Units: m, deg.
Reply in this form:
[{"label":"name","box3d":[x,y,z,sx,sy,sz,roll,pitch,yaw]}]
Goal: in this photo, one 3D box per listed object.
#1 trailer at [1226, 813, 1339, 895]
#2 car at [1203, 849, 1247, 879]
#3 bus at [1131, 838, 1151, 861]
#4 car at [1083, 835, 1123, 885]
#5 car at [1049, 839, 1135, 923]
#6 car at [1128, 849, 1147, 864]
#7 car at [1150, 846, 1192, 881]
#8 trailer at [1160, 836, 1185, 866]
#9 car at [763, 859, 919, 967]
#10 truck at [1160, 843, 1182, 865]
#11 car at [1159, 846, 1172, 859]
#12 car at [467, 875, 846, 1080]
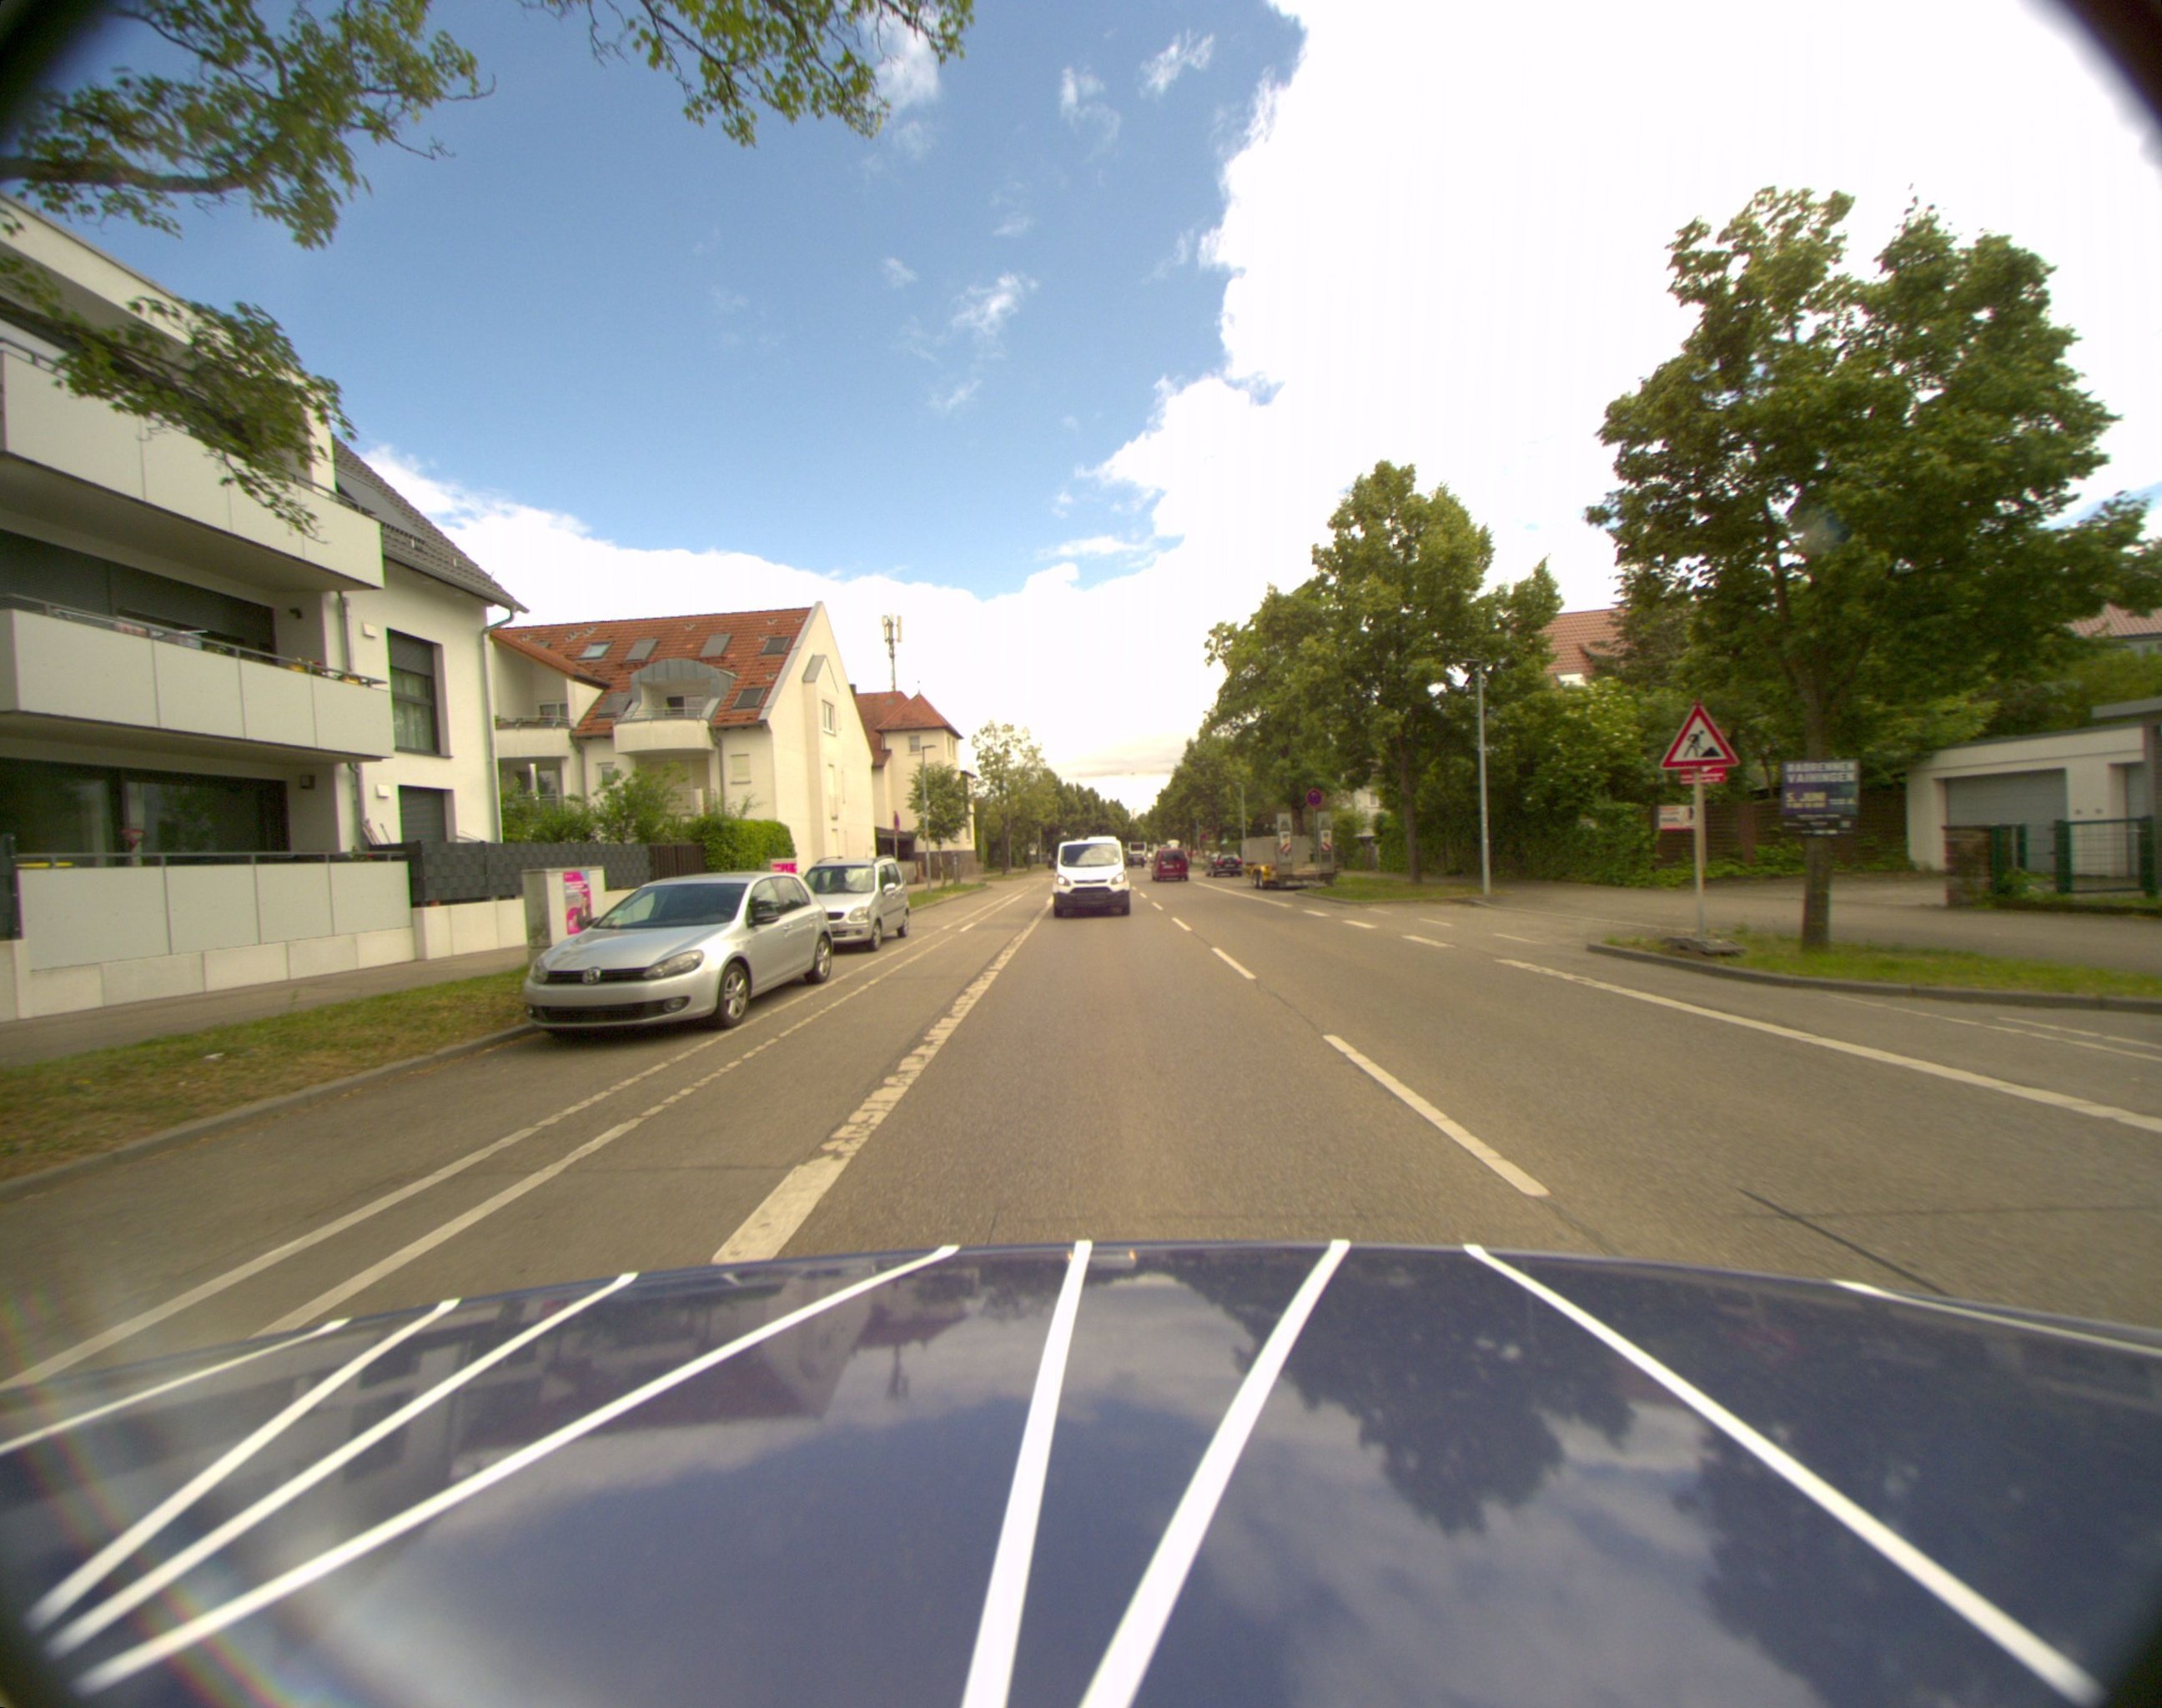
[{"label":"trailer","box3d":[8.231,-0.047,31.998,2.680,2.924,7.474,-3,1,0]},{"label":"car","box3d":[8.763,0.559,46.539,1.865,1.544,4.618,-2,2,1]},{"label":"bus","box3d":[9.606,-0.819,120.773,2.810,3.269,18.050,1,1,6]},{"label":"car","box3d":[1.276,0.310,42.813,1.998,2.584,4.001,-3,0,3]},{"label":"car","box3d":[0.443,0.652,21.287,1.998,2.002,5.320,-2,0,4]},{"label":"car","box3d":[6.293,0.262,85.343,1.998,1.658,4.590,-1,0,2]},{"label":"car","box3d":[4.977,0.515,42.464,1.764,1.792,4.769,-2,0,1]},{"label":"trailer","box3d":[9.550,-0.317,79.762,2.377,2.946,7.013,-2,0,6]},{"label":"car","box3d":[-4.277,0.970,14.136,1.636,1.656,3.648,-2,0,1]},{"label":"truck","box3d":[10.183,-0.004,86.467,2.300,2.274,6.465,-2,0,6]},{"label":"car","box3d":[12.061,-0.243,108.677,1.710,1.863,4.400,-2,0,6]},{"label":"car","box3d":[-4.116,1.069,8.306,1.691,1.484,4.227,-2,0,0]}]
